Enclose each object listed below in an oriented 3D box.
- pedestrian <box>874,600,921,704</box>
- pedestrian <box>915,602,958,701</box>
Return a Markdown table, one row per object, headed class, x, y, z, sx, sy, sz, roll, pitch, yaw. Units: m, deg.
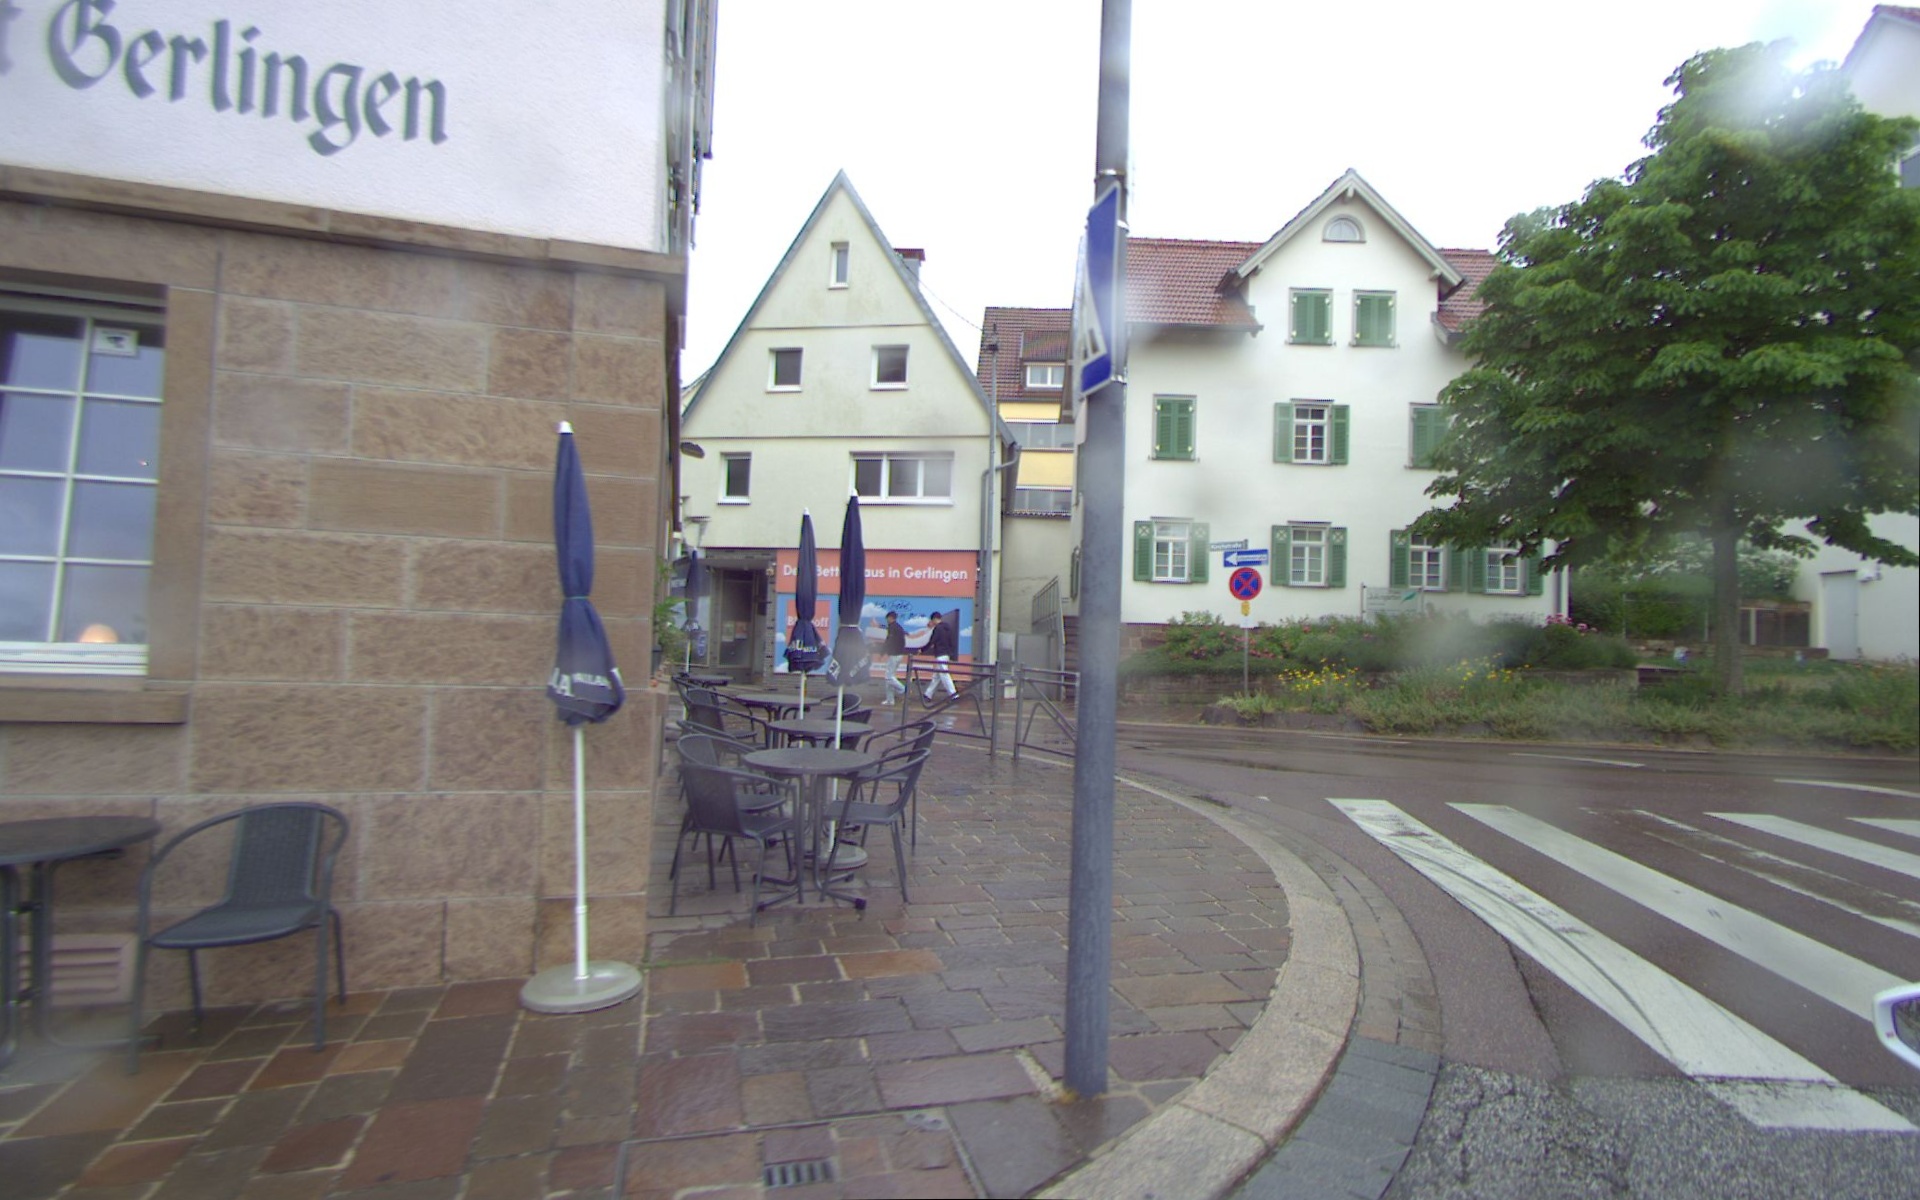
| class | x | y | z | sx | sy | sz | roll | pitch | yaw |
| --- | --- | --- | --- | --- | --- | --- | --- | --- | --- |
| pedestrian | -1.251 | 1.047 | 20.173 | 0.746 | 2.040 | 0.653 | 0 | -3 | 13 |
| pedestrian | -0.482 | 1.087 | 21.161 | 0.746 | 2.040 | 0.653 | 0 | -3 | 13 |
